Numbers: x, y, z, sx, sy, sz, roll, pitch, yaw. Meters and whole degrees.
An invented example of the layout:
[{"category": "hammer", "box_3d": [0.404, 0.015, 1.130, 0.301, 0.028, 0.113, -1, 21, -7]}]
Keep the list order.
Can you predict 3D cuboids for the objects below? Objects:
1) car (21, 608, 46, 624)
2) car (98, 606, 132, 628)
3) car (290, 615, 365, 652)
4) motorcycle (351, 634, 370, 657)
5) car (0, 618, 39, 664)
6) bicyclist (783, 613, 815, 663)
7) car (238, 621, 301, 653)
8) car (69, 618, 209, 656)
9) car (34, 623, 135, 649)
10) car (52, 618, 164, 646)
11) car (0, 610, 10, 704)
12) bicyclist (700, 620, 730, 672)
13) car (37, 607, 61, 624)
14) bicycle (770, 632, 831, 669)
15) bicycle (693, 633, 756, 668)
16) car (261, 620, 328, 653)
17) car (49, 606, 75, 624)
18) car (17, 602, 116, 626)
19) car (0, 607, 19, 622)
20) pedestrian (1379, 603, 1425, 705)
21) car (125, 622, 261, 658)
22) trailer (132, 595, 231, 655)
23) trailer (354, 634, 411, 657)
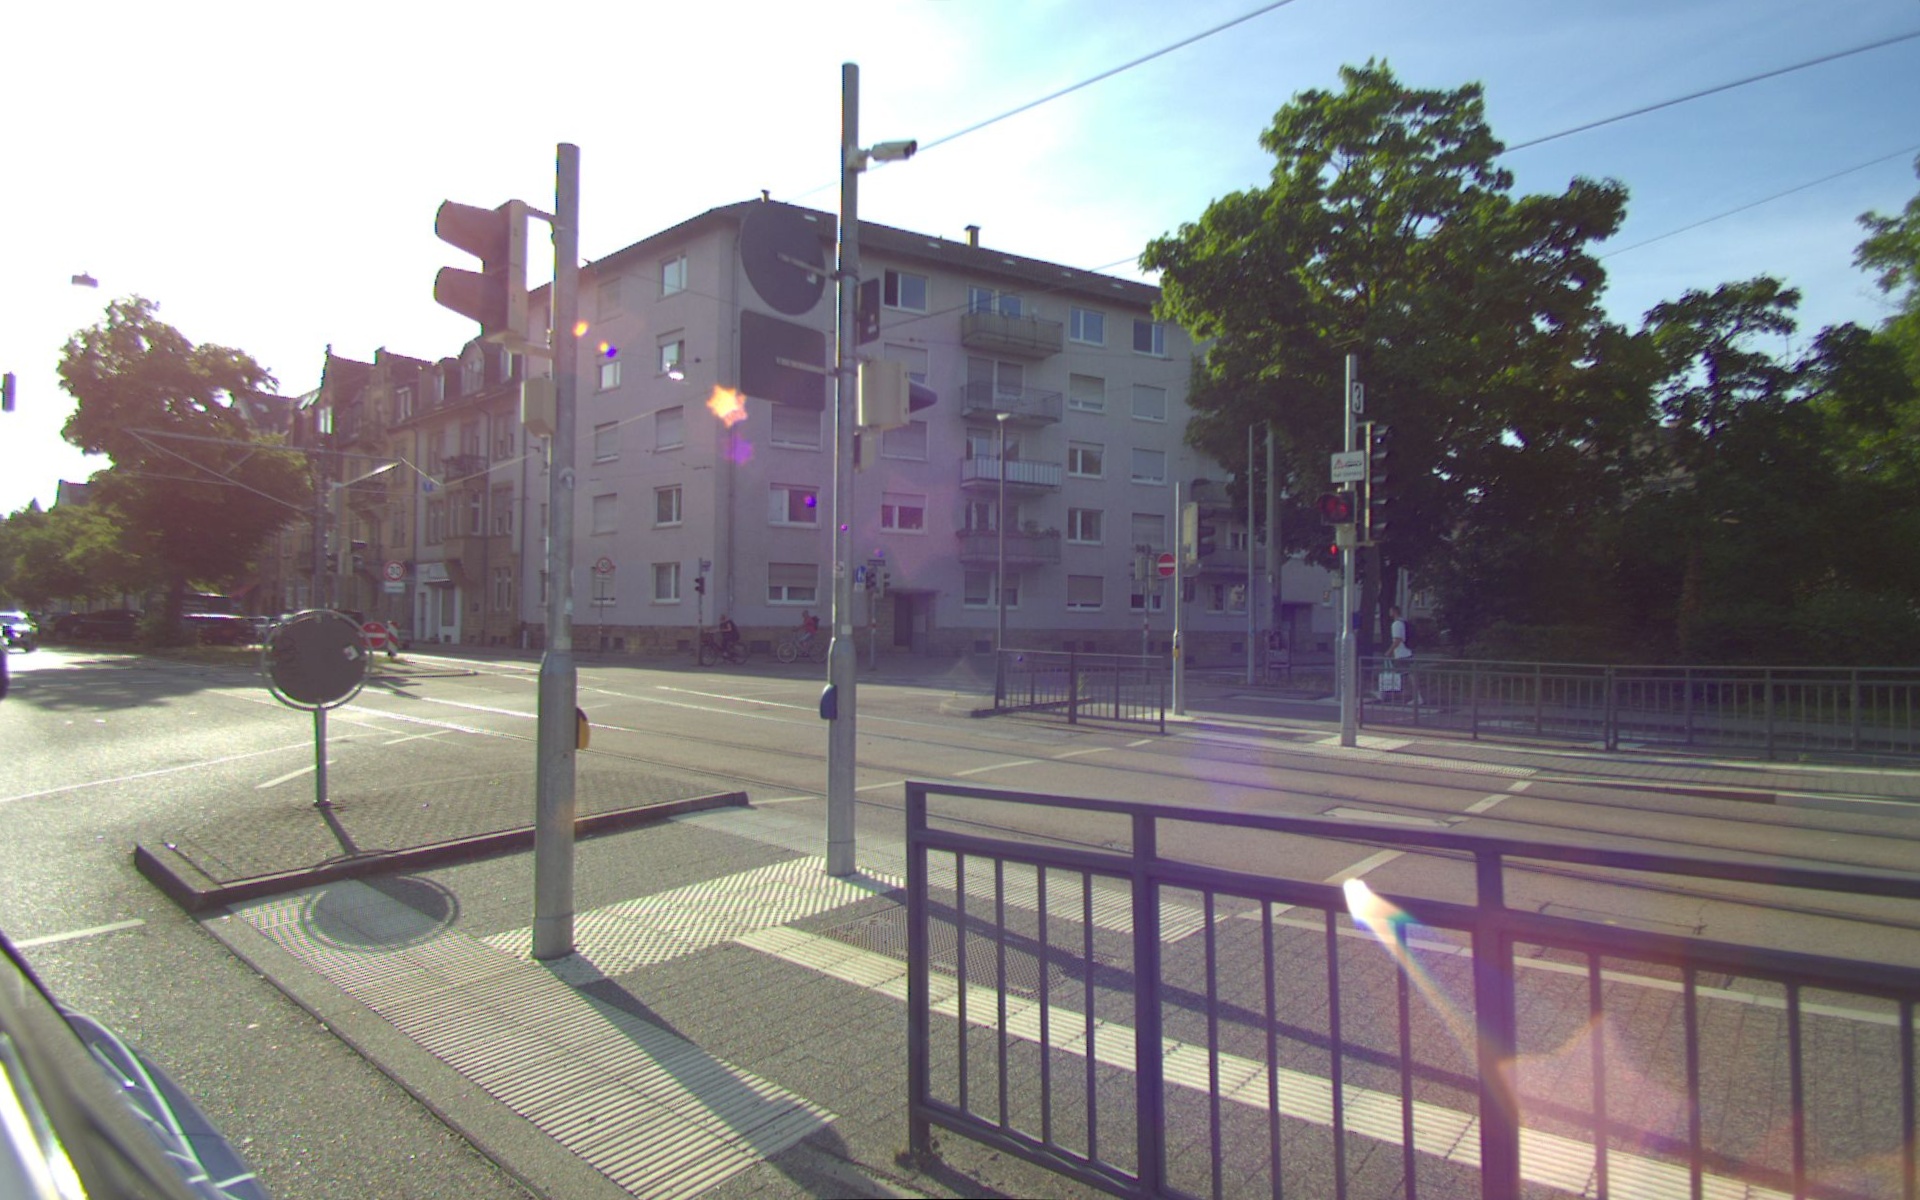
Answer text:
[{"category": "car", "box_3d": [-121.795, 2.100, 132.975, 3.998, 2.029, 1.973, -2, -2, 41]}, {"category": "car", "box_3d": [-80.744, 1.634, 96.711, 3.999, 2.029, 1.972, -2, -2, 42]}, {"category": "car", "box_3d": [-32.021, 1.692, 51.162, 4.719, 1.763, 2.141, -2, -2, 44]}, {"category": "motorcycle", "box_3d": [-28.875, 2.178, 48.766, 0.626, 1.088, 1.739, 0, -1, -24]}, {"category": "car", "box_3d": [-34.853, 1.470, 36.760, 1.970, 1.586, 4.003, 1, -2, -44]}, {"category": "bicyclist", "box_3d": [-5.532, 1.293, 34.711, 0.839, 1.655, 0.816, 0, -1, -28]}, {"category": "car", "box_3d": [-40.516, 2.140, 59.375, 4.611, 1.763, 2.141, -2, -2, 44]}, {"category": "car", "box_3d": [-38.361, 1.740, 47.411, 4.644, 1.703, 2.175, 0, -2, -7]}, {"category": "car", "box_3d": [-50.956, 2.086, 58.950, 4.204, 1.433, 1.684, 0, -1, -7]}, {"category": "car", "box_3d": [-45.611, 1.720, 54.251, 4.239, 1.433, 1.962, 0, -1, -7]}, {"category": "car", "box_3d": [-17.314, 0.928, 16.937, 4.000, 1.492, 1.815, -2, -3, 43]}, {"category": "bicyclist", "box_3d": [-8.024, 1.500, 33.152, 0.760, 1.655, 0.797, 1, -2, -28]}, {"category": "car", "box_3d": [-112.329, 1.895, 124.710, 4.002, 2.029, 1.971, -2, -2, 45]}, {"category": "bicycle", "box_3d": [-5.470, 1.719, 34.768, 1.946, 1.212, 0.737, 0, -1, -28]}, {"category": "bicycle", "box_3d": [-7.761, 1.661, 33.312, 1.883, 1.119, 0.737, 0, -3, -28]}, {"category": "car", "box_3d": [-36.774, 1.985, 55.871, 4.611, 1.763, 2.141, -2, -2, 44]}, {"category": "car", "box_3d": [-104.009, 1.725, 117.161, 4.002, 2.029, 1.971, -2, -2, 45]}, {"category": "car", "box_3d": [-56.266, 0.891, 63.779, 4.204, 1.433, 2.175, 0, -1, -7]}, {"category": "car", "box_3d": [-138.273, 2.110, 146.906, 3.998, 2.029, 1.973, -2, -2, 41]}, {"category": "pedestrian", "box_3d": [8.595, 1.021, 19.672, 0.705, 1.924, 0.996, -1, -1, 28]}, {"category": "car", "box_3d": [-30.116, 1.560, 39.846, 3.887, 1.370, 1.677, 1, -2, -13]}, {"category": "trailer", "box_3d": [-32.367, 1.040, 42.169, 2.817, 2.410, 1.728, 0, -2, -17]}, {"category": "trailer", "box_3d": [-26.980, 2.091, 47.235, 2.878, 0.903, 1.426, -2, 3, 42]}]
